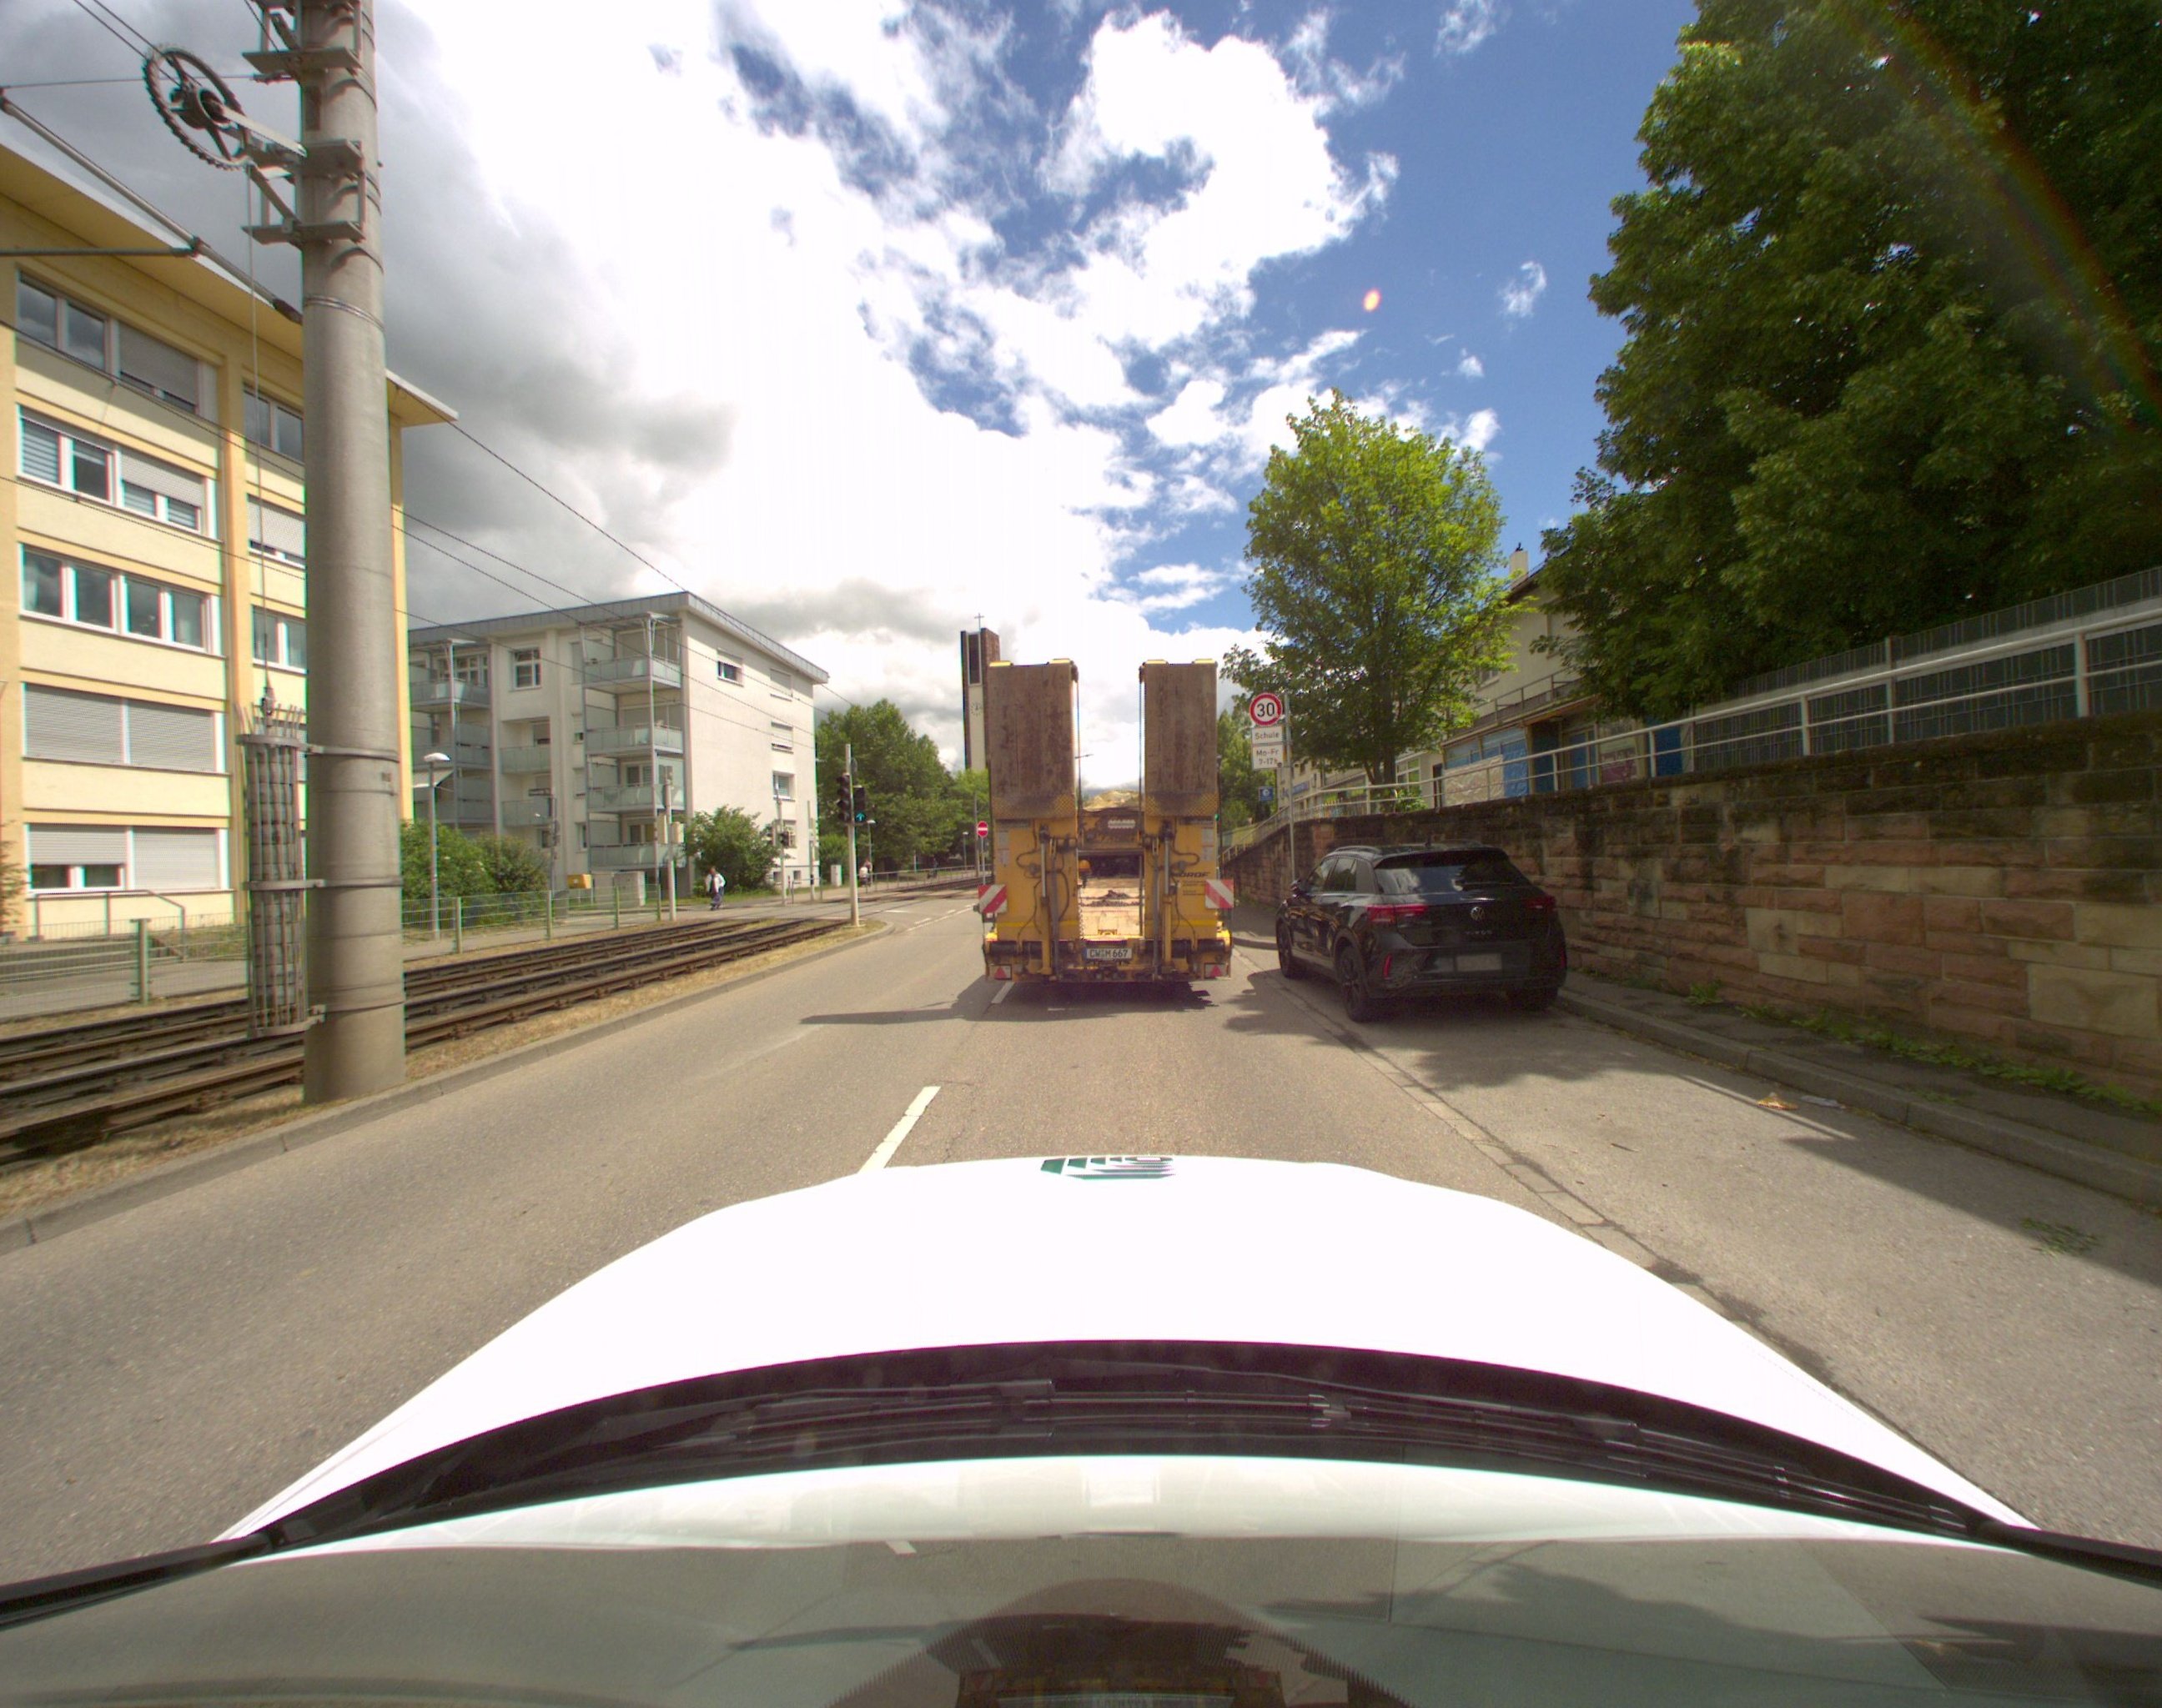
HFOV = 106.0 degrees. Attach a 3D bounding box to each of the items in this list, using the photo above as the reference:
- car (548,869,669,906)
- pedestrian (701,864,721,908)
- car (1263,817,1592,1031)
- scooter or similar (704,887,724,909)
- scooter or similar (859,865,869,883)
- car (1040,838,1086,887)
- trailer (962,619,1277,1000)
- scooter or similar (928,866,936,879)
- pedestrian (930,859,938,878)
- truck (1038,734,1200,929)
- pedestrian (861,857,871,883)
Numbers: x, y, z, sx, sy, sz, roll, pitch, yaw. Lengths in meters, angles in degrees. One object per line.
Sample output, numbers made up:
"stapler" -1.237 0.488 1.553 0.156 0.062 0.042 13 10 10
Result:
"car" -19.568 1.382 33.795 3.963 1.346 1.906 -2 0 9
"pedestrian" -13.502 1.165 29.723 0.435 1.581 0.475 0 -1 7
"car" 3.246 0.575 8.599 1.843 1.639 4.002 -3 0 2
"scooter or similar" -13.226 1.588 29.342 0.435 0.747 0.475 -2 0 7
"scooter or similar" -12.717 1.169 47.740 0.336 1.057 0.688 -2 0 5
"car" -0.831 0.420 41.867 2.005 2.359 5.386 0 0 3
"trailer" 0.566 -0.424 12.263 2.933 3.601 8.689 -2 0 3
"scooter or similar" -11.808 1.449 64.523 0.504 0.971 0.646 0 0 1
"pedestrian" -11.773 1.187 65.177 0.562 1.514 0.646 0 0 0
"truck" 0.826 -0.419 17.762 2.931 3.572 4.880 -2 0 2
"pedestrian" -12.744 0.954 48.370 0.346 1.537 0.558 -2 0 5
